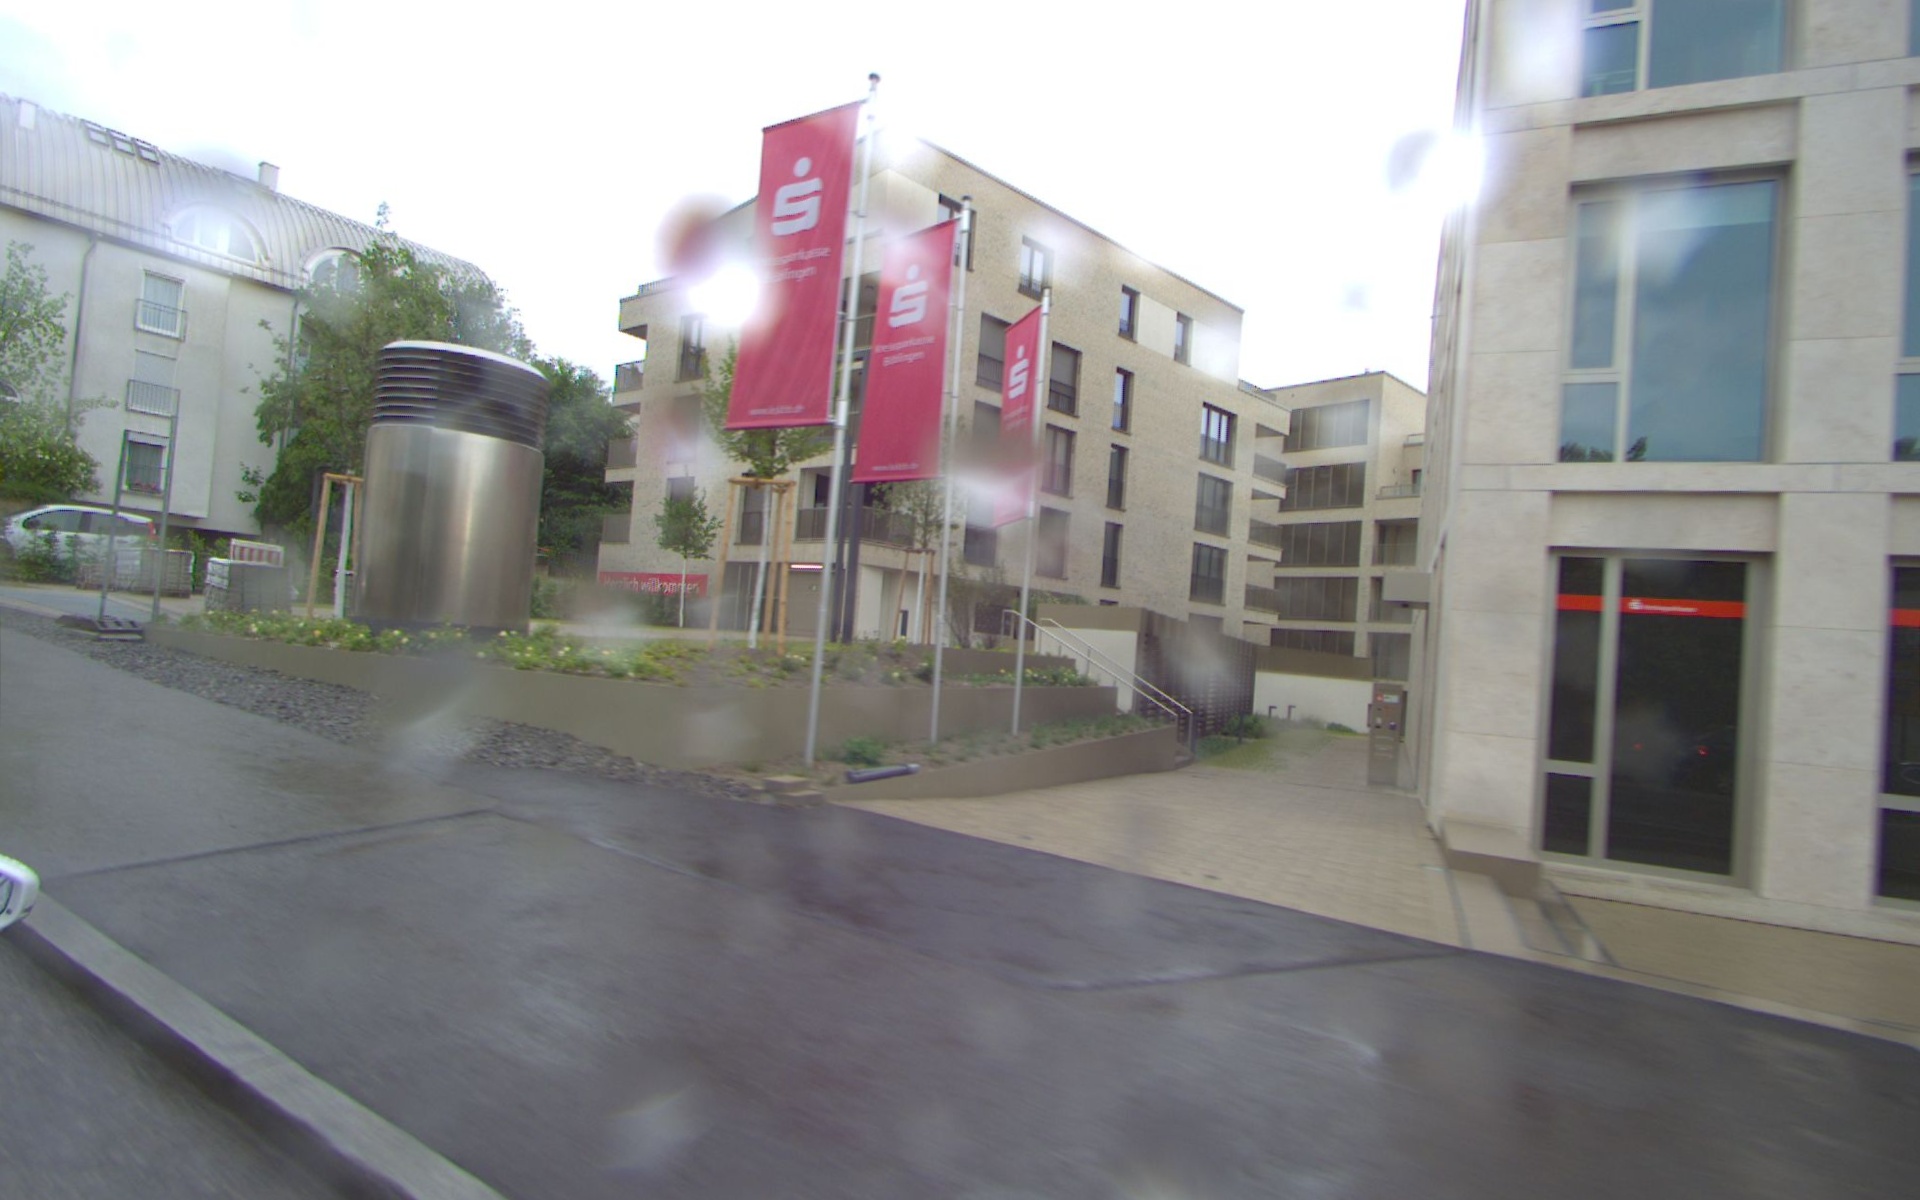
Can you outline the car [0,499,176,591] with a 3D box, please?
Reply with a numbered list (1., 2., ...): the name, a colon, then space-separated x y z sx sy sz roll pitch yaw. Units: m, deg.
1. car: -19.287 -1.226 21.418 1.749 1.520 3.669 7 -2 37
